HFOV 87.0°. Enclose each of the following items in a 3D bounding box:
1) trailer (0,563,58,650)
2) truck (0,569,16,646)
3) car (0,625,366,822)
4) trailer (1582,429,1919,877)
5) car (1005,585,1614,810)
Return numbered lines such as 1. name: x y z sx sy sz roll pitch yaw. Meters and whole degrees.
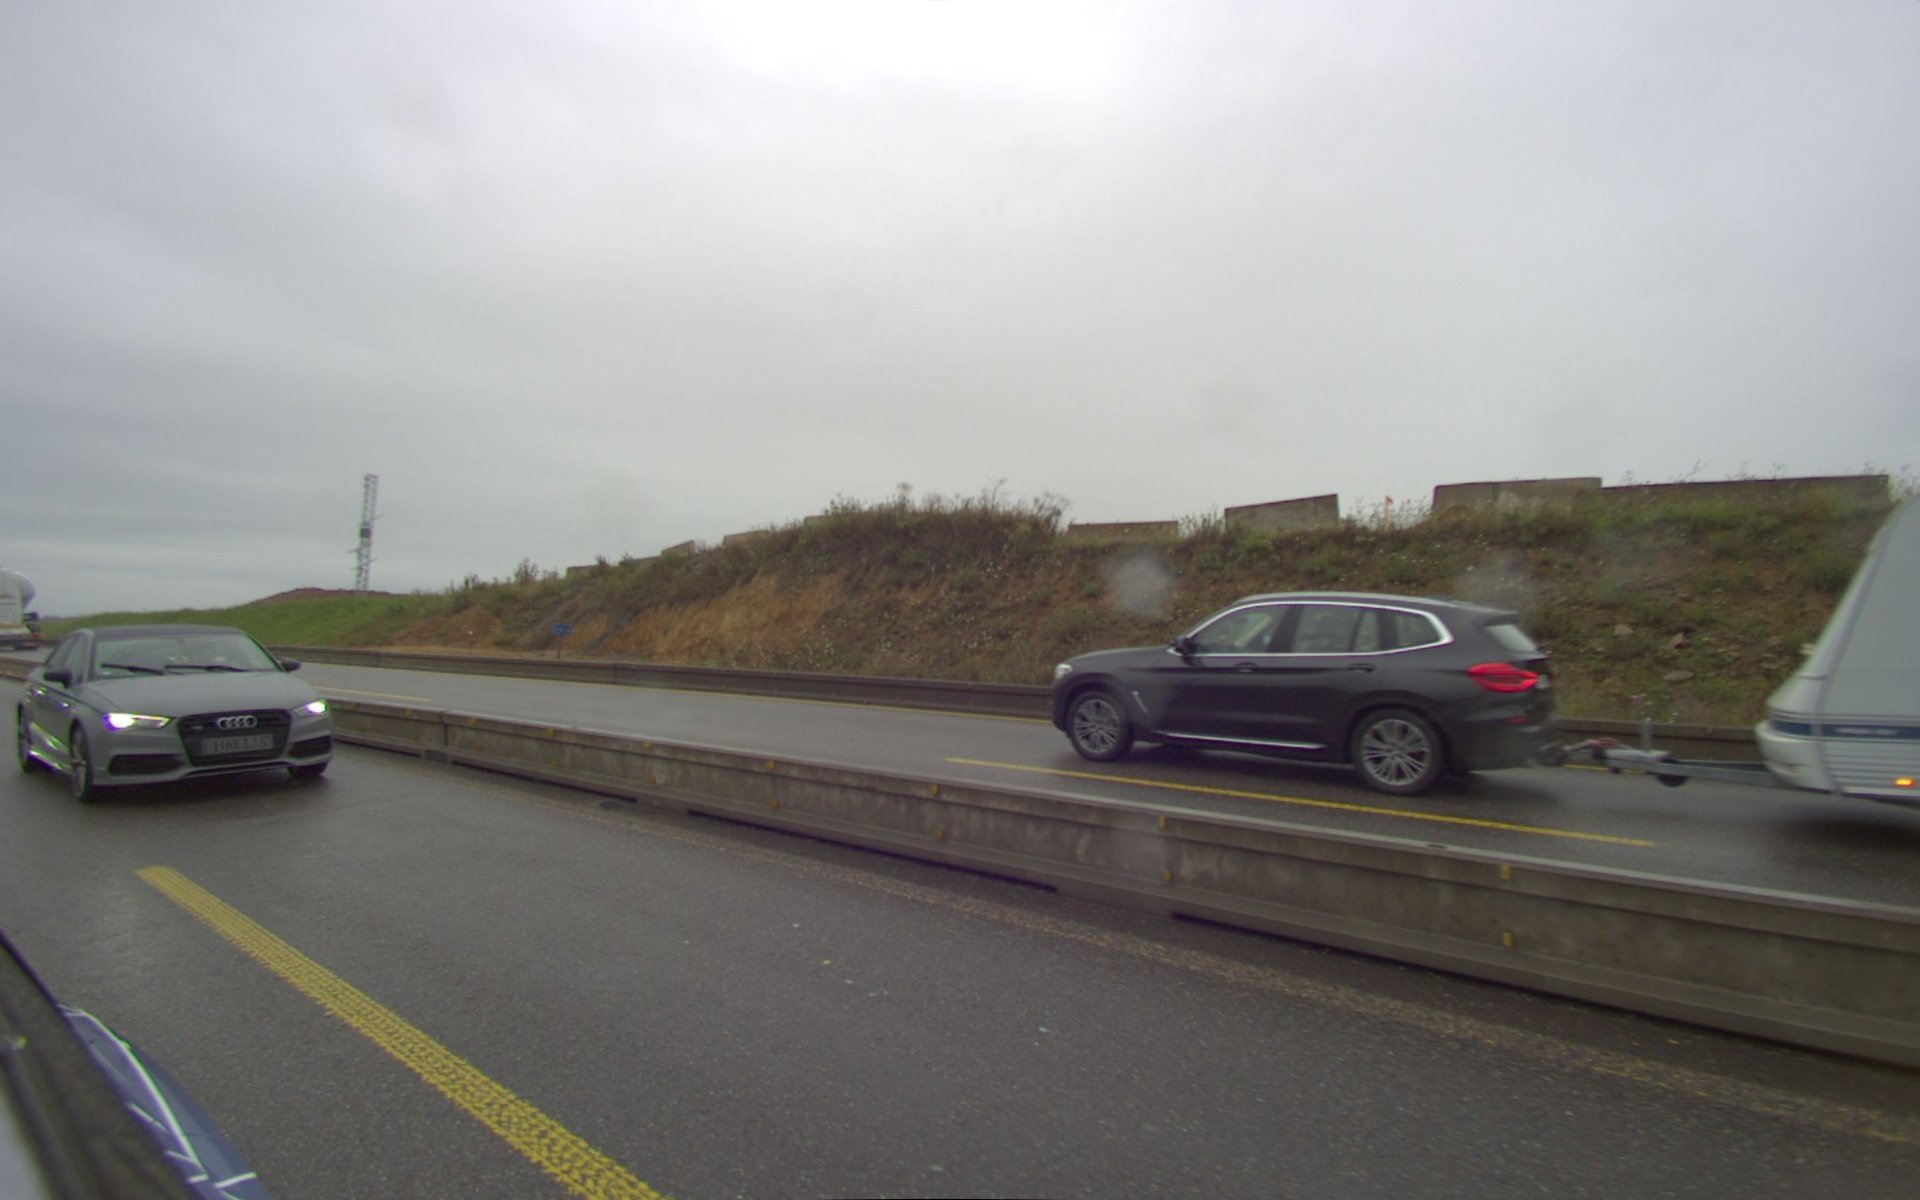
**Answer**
1. trailer: -48.155 0.346 49.904 11.515 3.994 3.226 -1 -1 37
2. truck: -52.278 0.396 53.002 5.872 3.985 3.201 -1 -1 37
3. car: -7.370 0.957 9.395 4.081 1.393 1.783 -1 -1 37
4. trailer: 7.790 0.258 5.524 7.158 2.584 2.484 -2 -1 41
5. car: 3.043 0.738 9.633 5.116 1.598 1.973 -2 -1 41
